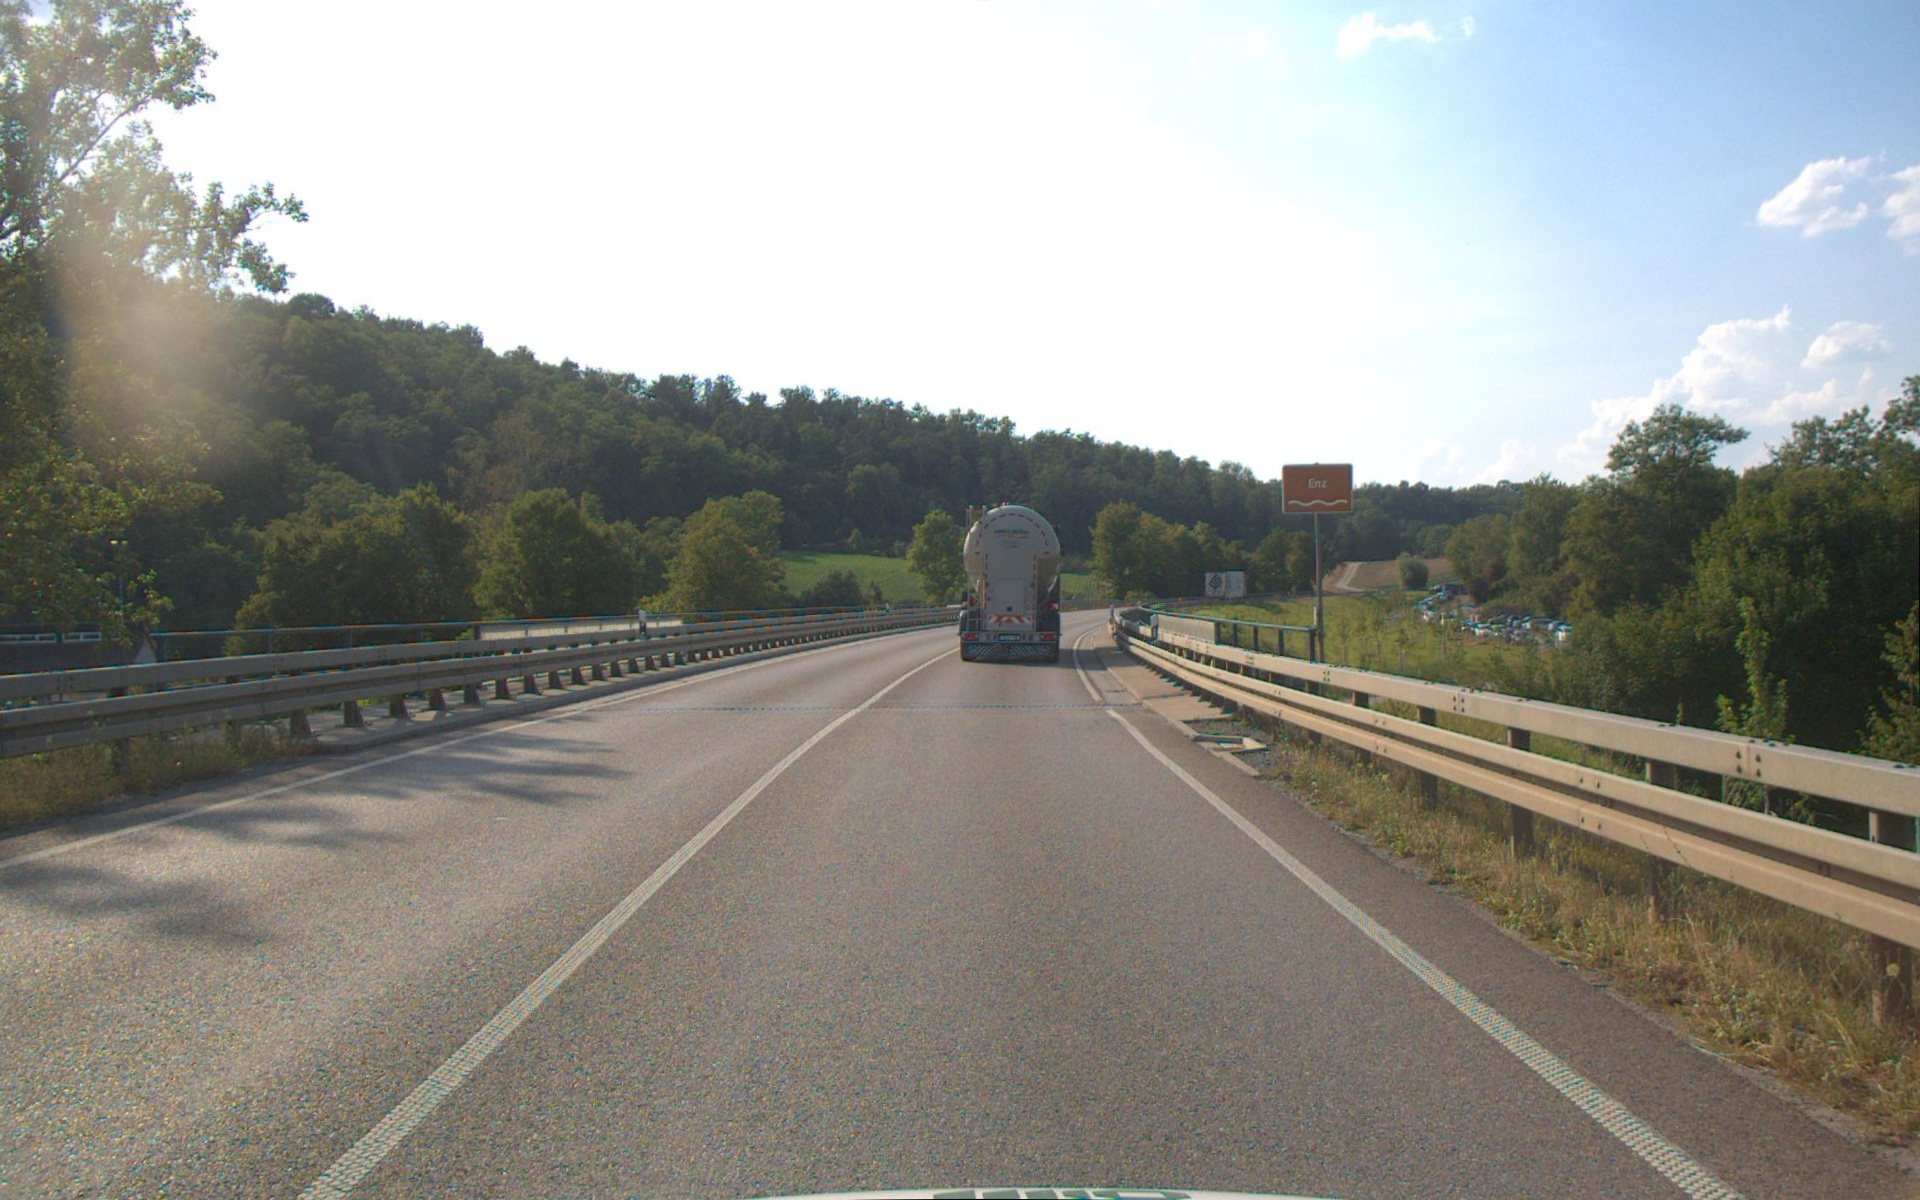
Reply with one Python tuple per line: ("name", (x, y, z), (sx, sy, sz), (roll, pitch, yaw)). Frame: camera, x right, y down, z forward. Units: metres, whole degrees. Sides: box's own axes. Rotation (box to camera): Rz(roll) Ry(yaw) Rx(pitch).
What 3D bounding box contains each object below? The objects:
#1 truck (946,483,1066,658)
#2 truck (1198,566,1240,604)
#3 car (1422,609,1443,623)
("truck", (1.313, -0.770, 46.771), (2.833, 4.215, 13.175), (1, 0, 2))
("truck", (31.469, -1.837, 200.758), (3.116, 4.301, 13.181), (0, 2, 17))
("car", (65.298, 2.195, 228.627), (1.852, 1.508, 4.787), (-3, 1, 6))
